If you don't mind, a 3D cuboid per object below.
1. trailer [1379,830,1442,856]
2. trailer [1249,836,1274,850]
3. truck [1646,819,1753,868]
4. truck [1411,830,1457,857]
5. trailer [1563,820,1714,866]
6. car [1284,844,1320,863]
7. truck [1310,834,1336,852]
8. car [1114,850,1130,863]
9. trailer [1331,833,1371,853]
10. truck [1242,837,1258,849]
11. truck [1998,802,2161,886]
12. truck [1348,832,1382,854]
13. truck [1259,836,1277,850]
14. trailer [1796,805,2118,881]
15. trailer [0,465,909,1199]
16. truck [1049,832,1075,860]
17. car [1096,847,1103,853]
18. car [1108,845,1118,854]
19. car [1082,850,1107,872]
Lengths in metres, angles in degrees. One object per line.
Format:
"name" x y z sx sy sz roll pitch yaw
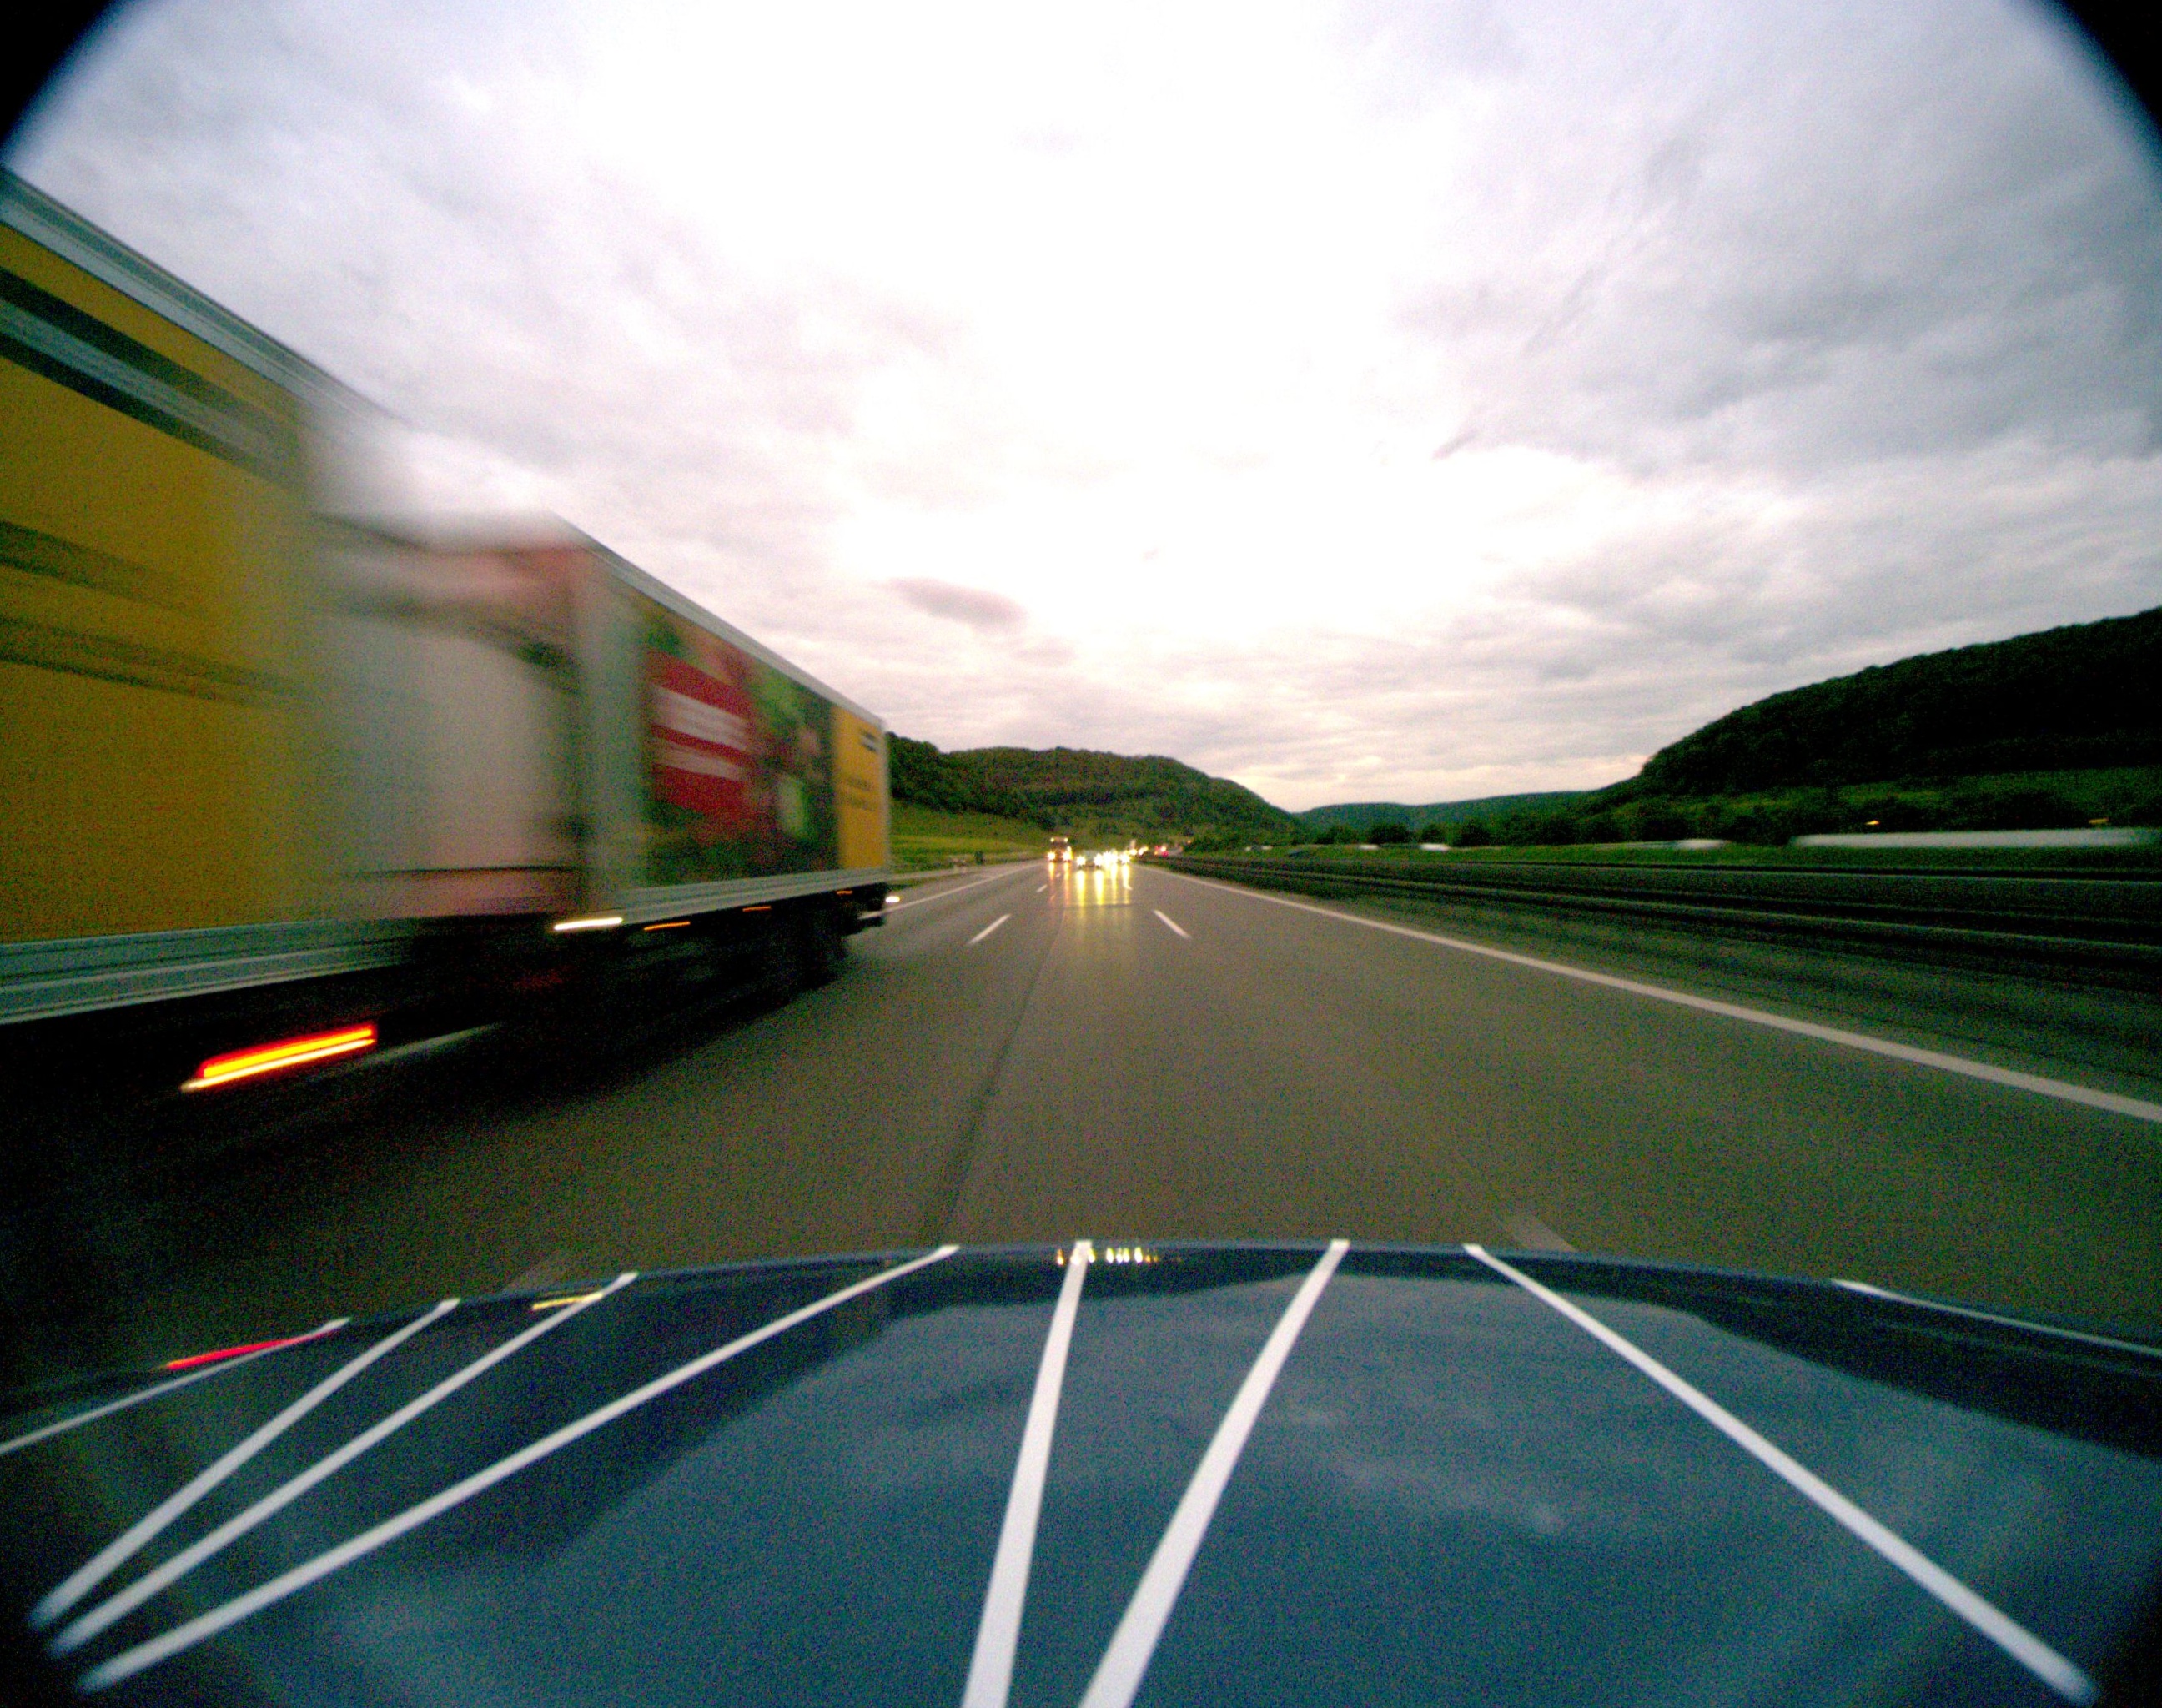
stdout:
"trailer" 42.419 -1.413 98.426 2.874 3.071 12.484 -1 1 1
"trailer" 43.855 -2.662 184.942 2.874 3.071 13.633 -1 1 1
"truck" 41.204 -0.718 50.825 2.874 3.071 5.303 -1 1 1
"truck" 42.270 -1.308 91.200 2.874 3.071 5.892 -1 1 1
"trailer" 41.234 -0.777 57.017 2.880 3.035 11.725 -1 1 1
"car" 21.378 -0.047 73.719 1.998 1.691 5.115 2 1 0
"truck" 42.920 -1.938 134.903 2.874 3.071 5.892 -1 1 1
"car" 5.145 0.293 95.543 1.794 1.492 5.037 -3 1 0
"trailer" 42.663 -1.727 120.306 2.874 3.071 10.155 -1 1 1
"truck" 44.147 -2.854 198.182 2.874 3.071 5.892 -1 1 1
"truck" 41.074 -0.424 30.191 2.874 3.071 5.303 -1 1 1
"truck" 42.543 -1.635 114.005 2.874 3.071 5.892 -1 1 1
"truck" 43.754 -2.562 178.023 2.874 3.071 5.841 -1 1 1
"trailer" 41.211 -0.520 36.792 2.874 3.071 11.158 -1 1 1
"trailer" -4.332 -0.165 8.441 2.623 3.805 8.876 -1 1 1
"truck" -2.672 -1.199 112.712 3.119 3.851 14.161 1 1 1
"car" 4.993 -0.997 204.604 1.932 1.492 4.134 -2 1 2
"car" 6.675 -0.958 156.986 1.894 1.650 5.638 -2 1 1
"car" 1.083 0.550 62.219 1.927 1.674 4.806 -1 1 1
